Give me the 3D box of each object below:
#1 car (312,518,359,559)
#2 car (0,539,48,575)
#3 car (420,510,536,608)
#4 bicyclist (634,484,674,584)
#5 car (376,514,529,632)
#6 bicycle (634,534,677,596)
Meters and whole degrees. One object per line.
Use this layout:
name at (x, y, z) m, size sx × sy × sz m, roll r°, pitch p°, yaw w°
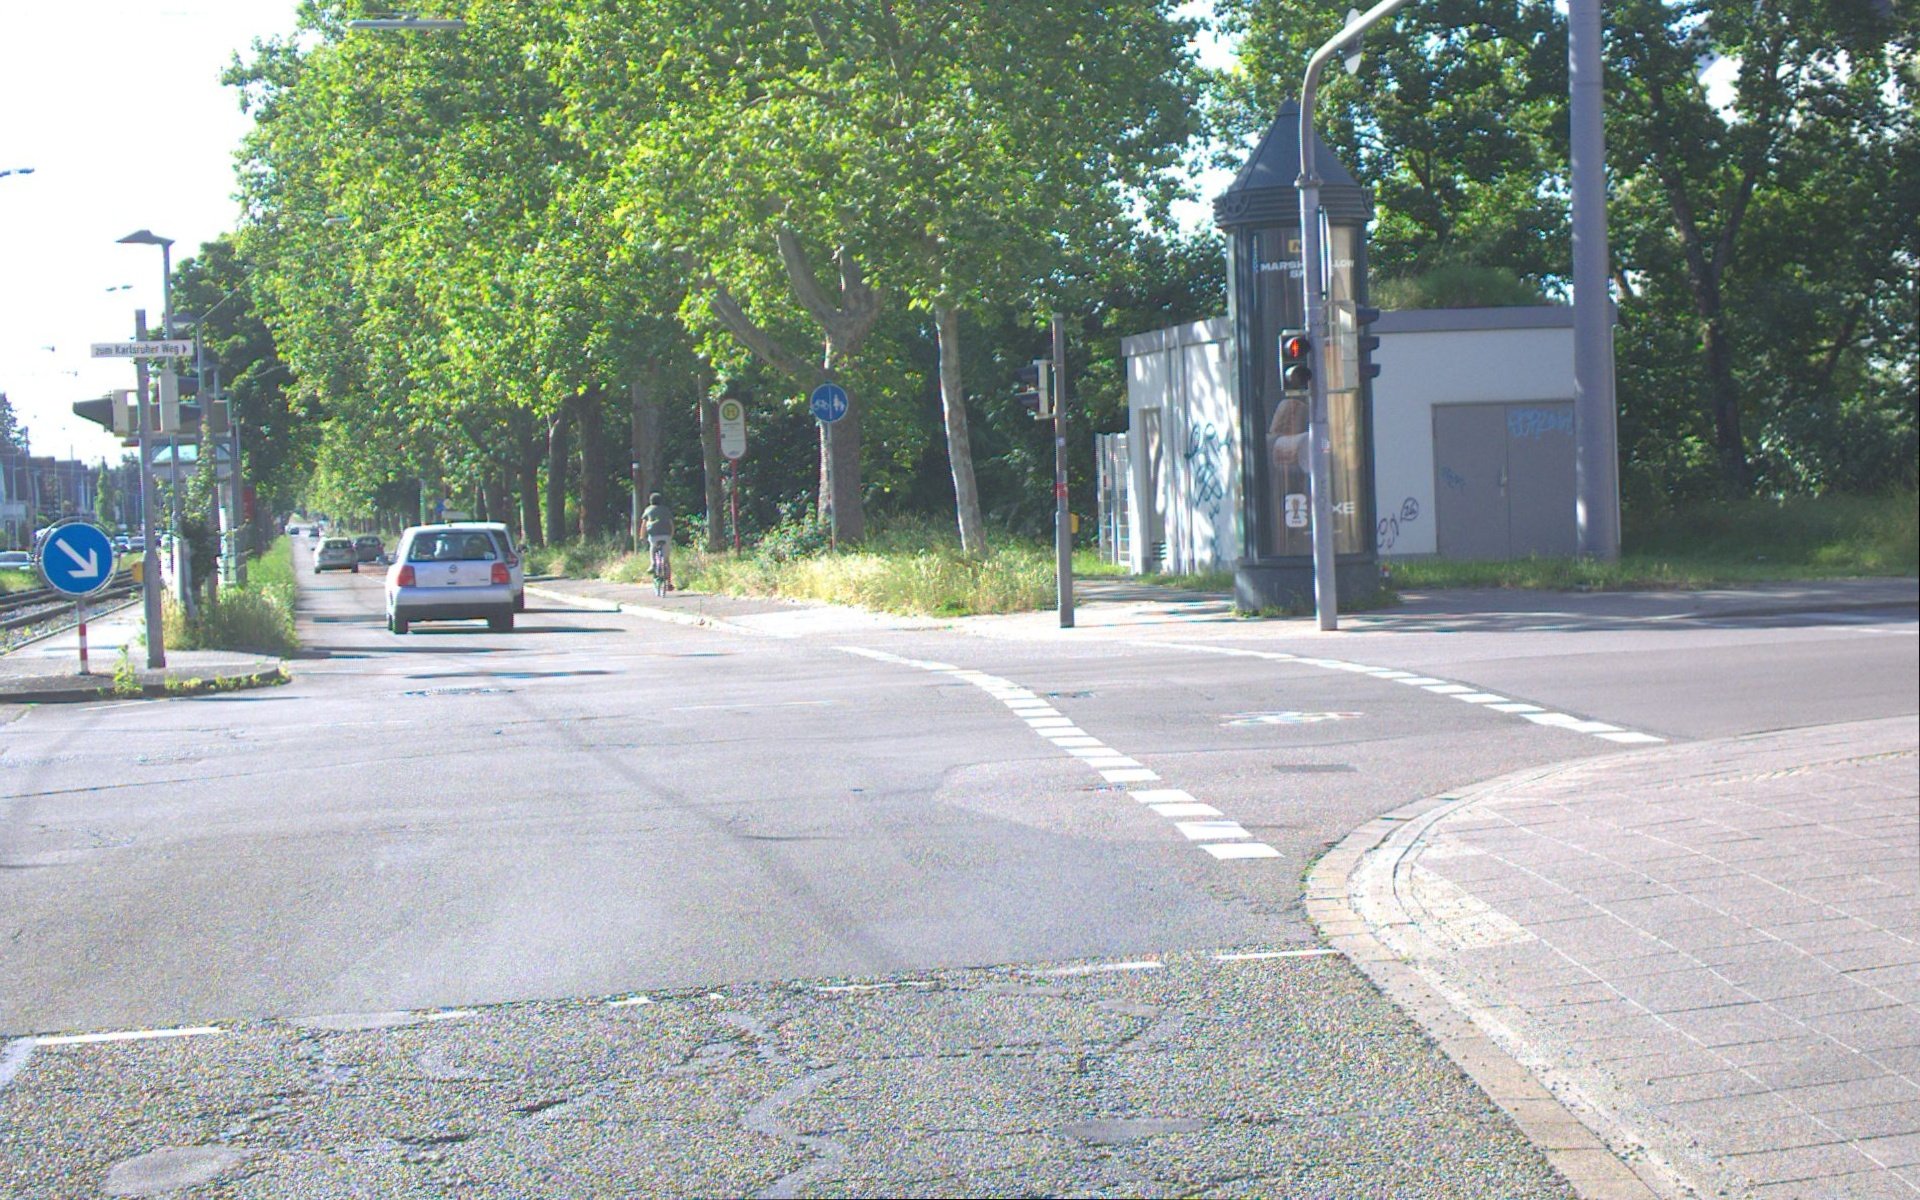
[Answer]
car at (-25.996, -2.567, 143.070) m, size 1.750 × 1.599 × 3.582 m, roll -3°, pitch 2°, yaw -12°
car at (-43.287, -2.004, 158.513) m, size 1.920 × 1.561 × 4.001 m, roll -3°, pitch 2°, yaw -9°
car at (-8.452, -0.744, 60.057) m, size 1.750 × 1.599 × 3.751 m, roll 2°, pitch 1°, yaw -11°
bicyclist at (-5.440, -1.174, 61.116) m, size 0.534 × 1.763 × 0.713 m, roll -3°, pitch 1°, yaw -13°
car at (-6.896, -0.390, 46.439) m, size 1.867 × 1.481 × 3.556 m, roll -2°, pitch 1°, yaw -11°
bicycle at (-5.411, -0.634, 61.096) m, size 0.536 × 1.062 × 1.434 m, roll -3°, pitch 2°, yaw -13°
